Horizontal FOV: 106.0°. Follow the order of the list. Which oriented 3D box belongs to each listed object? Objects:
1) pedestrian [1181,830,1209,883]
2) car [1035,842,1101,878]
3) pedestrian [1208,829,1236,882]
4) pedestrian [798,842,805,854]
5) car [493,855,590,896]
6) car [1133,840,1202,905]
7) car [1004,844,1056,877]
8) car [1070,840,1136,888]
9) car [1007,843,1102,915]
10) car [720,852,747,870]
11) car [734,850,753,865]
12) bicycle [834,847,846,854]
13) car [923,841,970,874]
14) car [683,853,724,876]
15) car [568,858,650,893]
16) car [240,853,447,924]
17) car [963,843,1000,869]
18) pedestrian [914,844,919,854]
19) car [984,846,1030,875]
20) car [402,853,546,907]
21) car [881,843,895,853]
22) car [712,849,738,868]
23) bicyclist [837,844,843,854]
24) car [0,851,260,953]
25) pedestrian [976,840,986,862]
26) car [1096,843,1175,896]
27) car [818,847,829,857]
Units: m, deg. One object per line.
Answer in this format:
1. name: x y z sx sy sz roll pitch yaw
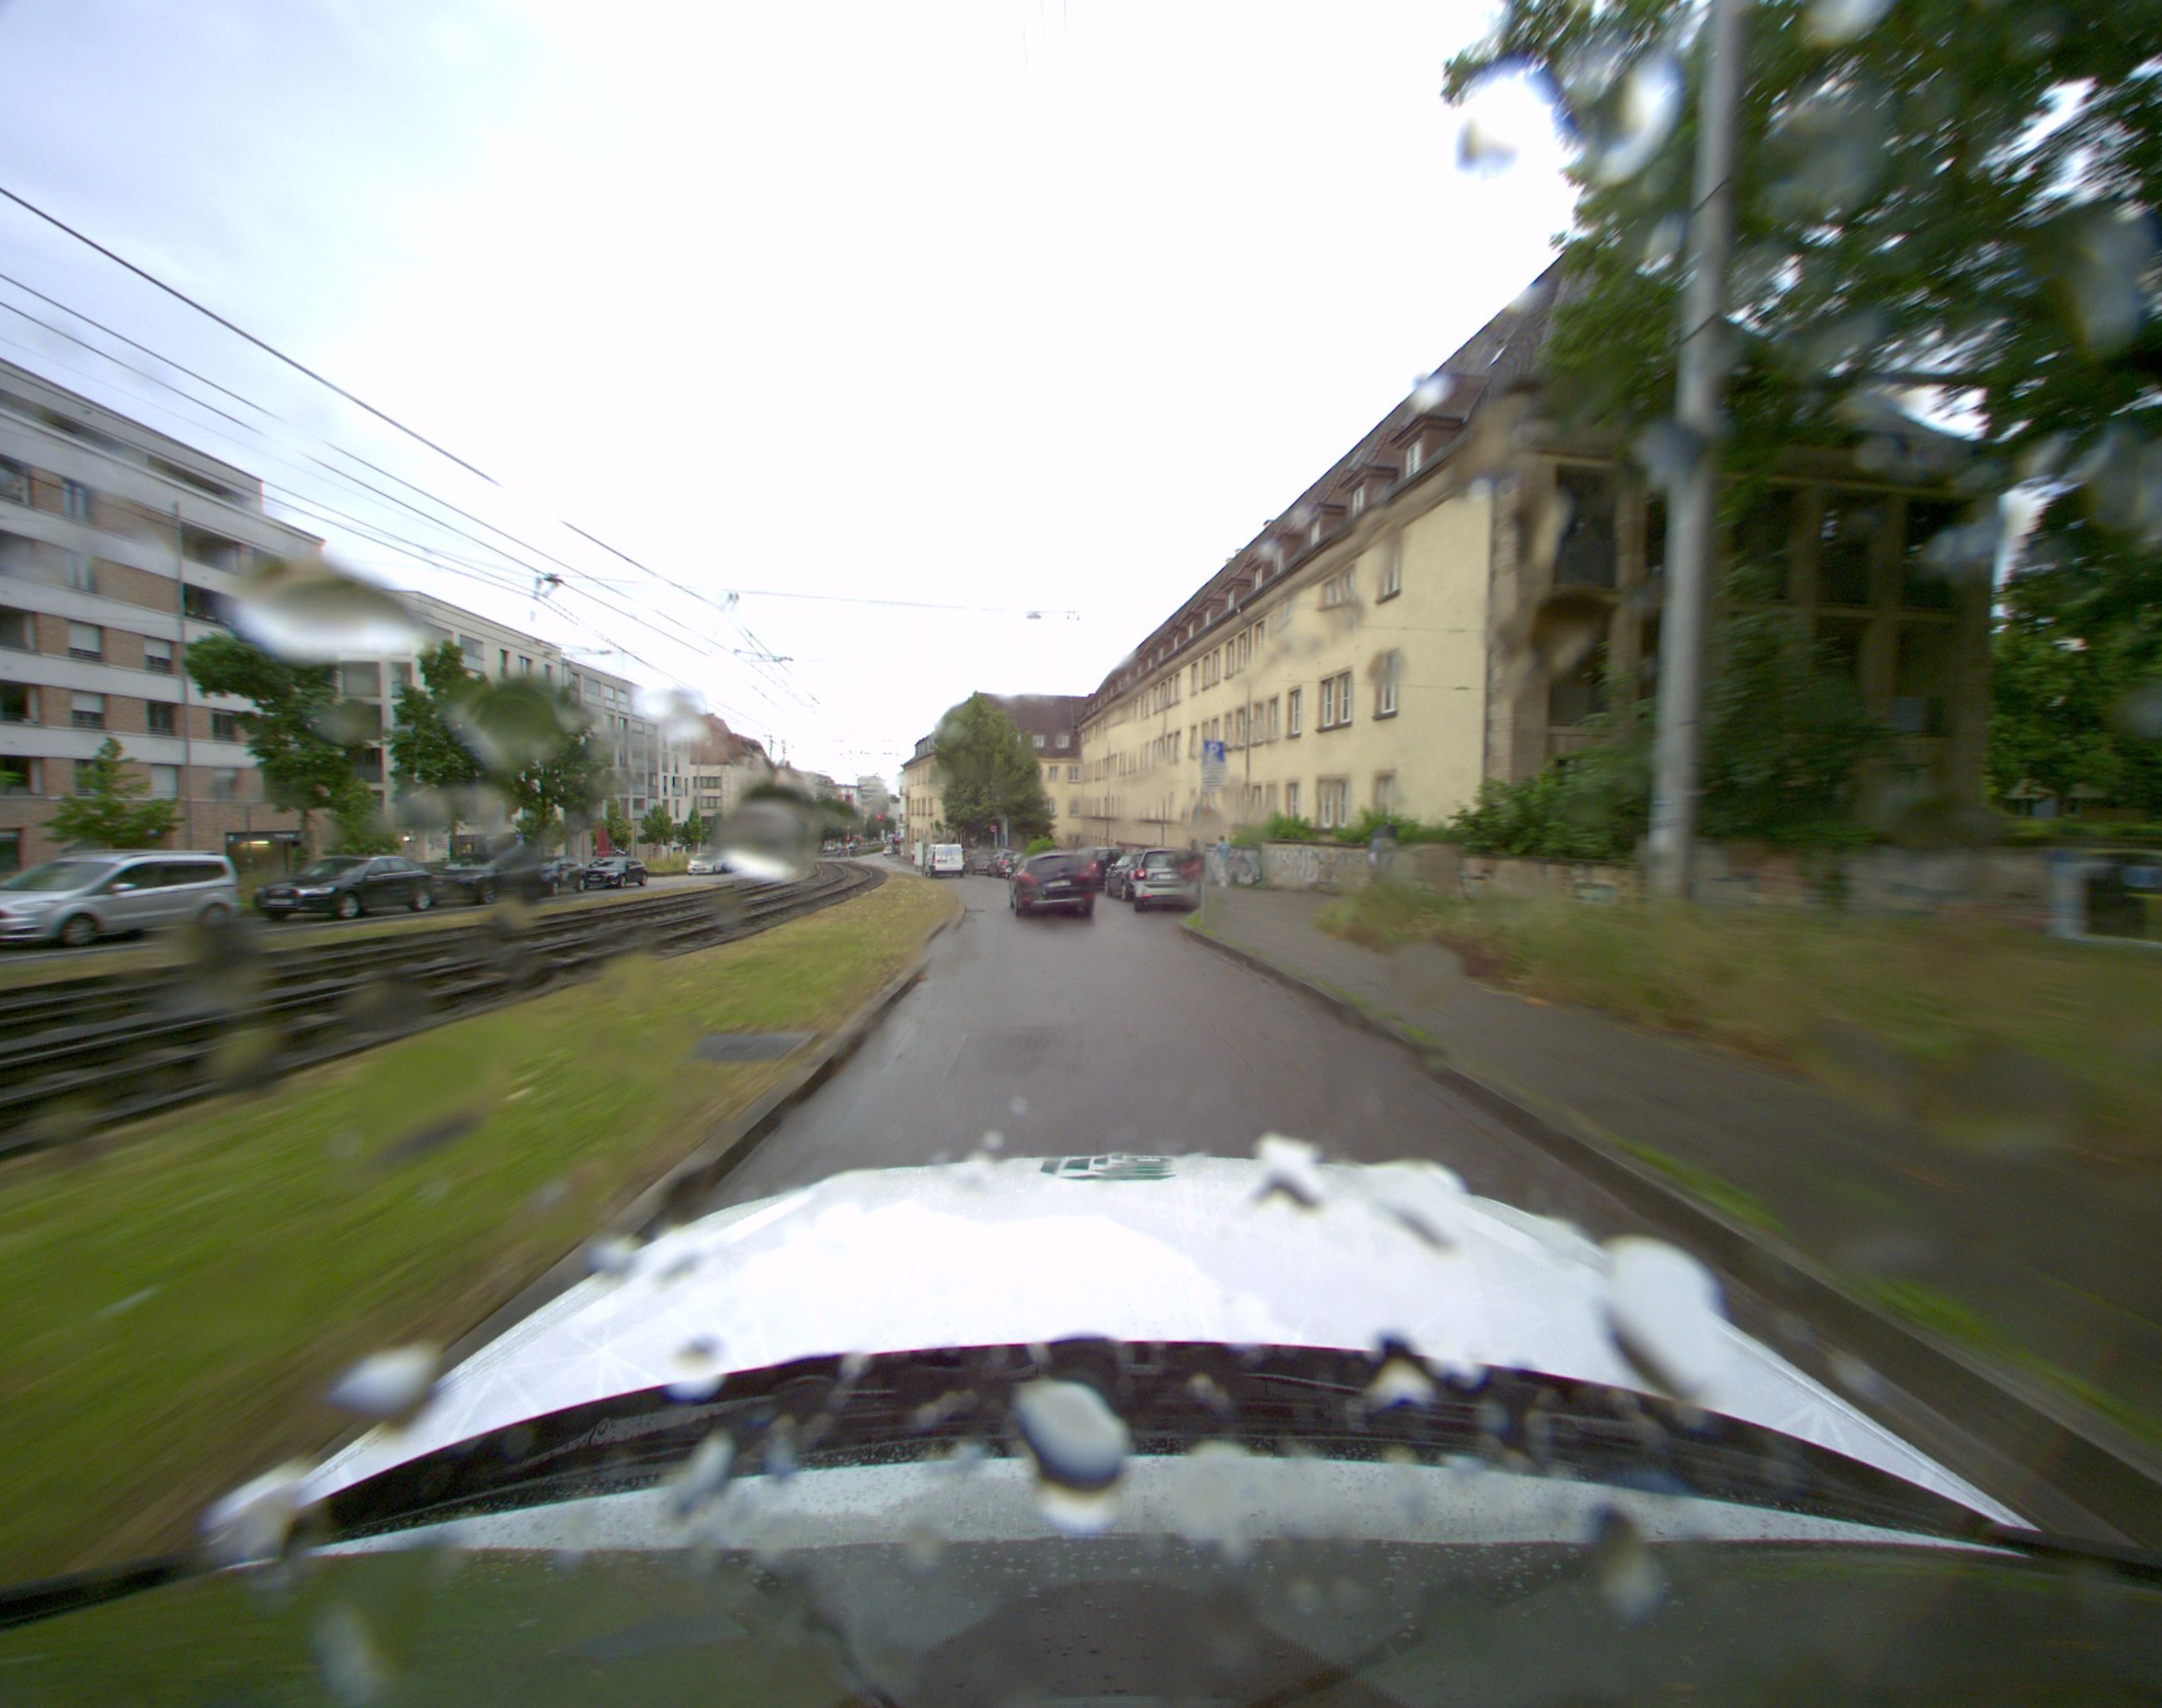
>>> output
1. pedestrian: 3.844 0.071 27.436 0.717 1.754 0.737 -2 1 -7
2. car: -0.639 0.236 35.699 1.671 1.476 4.039 0 1 -20
3. pedestrian: 4.769 0.039 27.622 0.717 1.754 0.737 -2 1 -7
4. pedestrian: -45.412 -0.902 132.335 0.909 1.931 0.819 -1 1 -23
5. car: -21.329 0.794 32.397 1.738 1.489 4.240 0 1 -12
6. car: 2.165 0.422 20.586 1.590 1.465 2.725 -2 1 5
7. car: -2.579 0.276 40.395 1.669 1.476 4.434 -3 1 -16
8. car: 0.737 0.319 30.074 1.666 1.573 3.843 -2 1 -10
9. car: -0.749 0.527 19.891 1.918 1.479 3.990 -2 2 -7
10. car: -30.432 0.571 71.373 1.724 1.513 4.292 -2 1 -18
11. car: -35.361 0.366 85.352 1.780 1.503 4.054 -2 1 -22
12. bicycle: -37.717 -0.497 127.401 1.811 1.064 0.452 0 1 -38
13. car: -7.723 0.158 46.406 2.141 1.745 4.196 -2 2 -16
14. car: -26.446 0.703 57.174 1.766 1.479 3.720 -2 1 -11
15. car: -21.905 0.956 37.983 1.966 1.431 4.185 0 1 -10
16. car: -19.642 0.832 22.023 1.729 1.644 4.524 0 1 -5
17. car: -6.339 0.077 51.586 1.669 1.524 4.087 -3 1 -16
18. pedestrian: -20.719 -0.634 102.681 0.506 1.315 0.508 -1 1 -19
19. car: -4.243 0.342 46.077 1.670 1.476 4.083 -3 1 -18
20. car: -20.207 0.809 27.409 1.801 1.583 4.687 0 1 -7
21. car: -34.693 -1.068 146.344 1.992 1.772 3.989 -1 1 -8
22. car: -29.035 0.372 66.528 1.553 1.435 3.430 -2 1 -18
23. bicyclist: -37.729 -0.846 127.393 0.705 1.574 0.457 -1 0 -37
24. car: -19.443 0.848 16.414 1.660 1.747 4.251 -1 1 -5
25. pedestrian: -7.947 -0.244 64.778 0.634 1.721 0.707 -2 1 -18
26. car: 1.574 0.401 24.713 1.536 1.416 3.632 -2 1 -9
27. car: -56.250 -0.458 178.174 1.996 2.013 3.981 -1 1 -14
